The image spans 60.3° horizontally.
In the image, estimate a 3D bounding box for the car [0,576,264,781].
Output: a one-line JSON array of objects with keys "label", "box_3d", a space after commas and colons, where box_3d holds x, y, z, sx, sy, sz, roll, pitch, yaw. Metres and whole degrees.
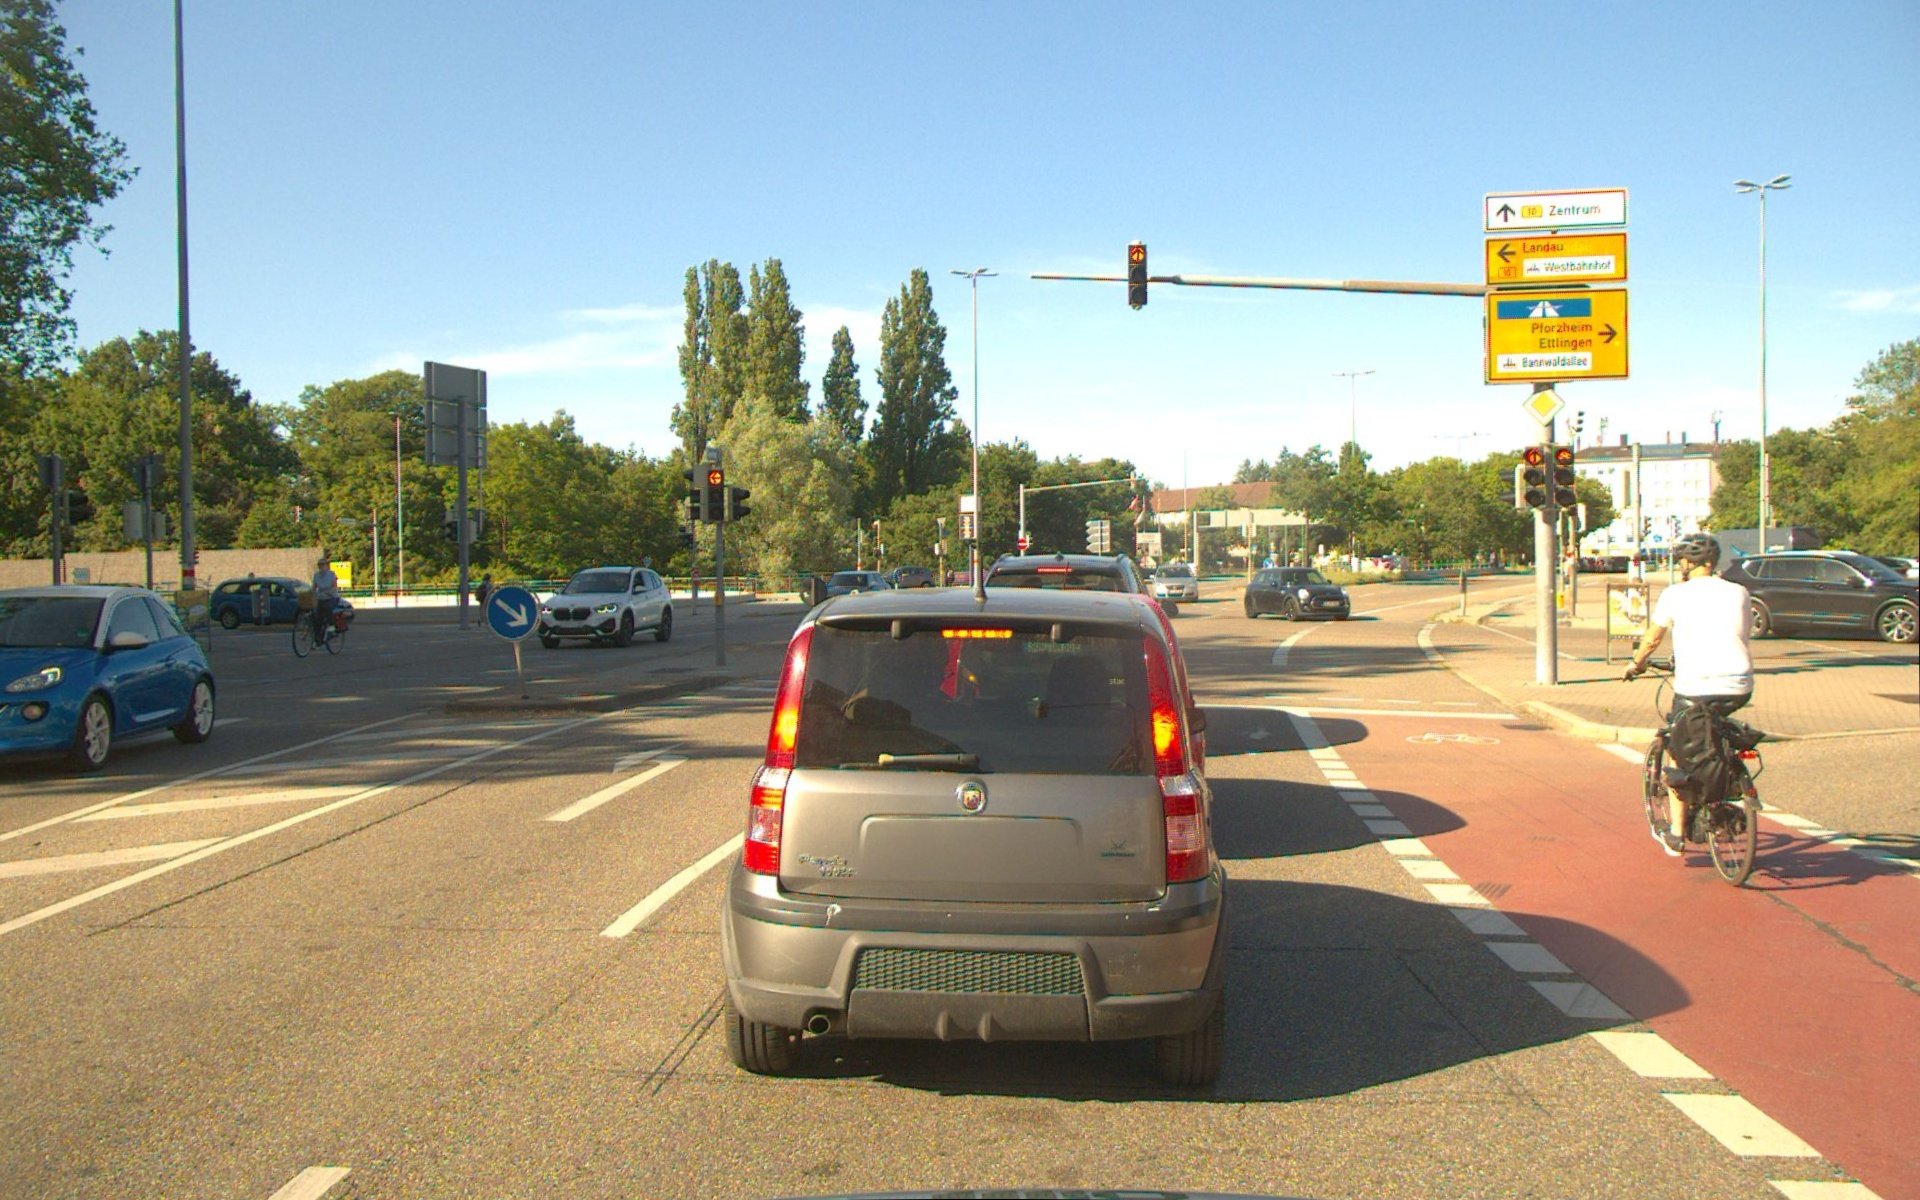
[{"label": "car", "box_3d": [-7.863, 0.572, 14.612, 1.784, 1.529, 4.447, -1, 1, -4]}]

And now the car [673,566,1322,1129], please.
[{"label": "car", "box_3d": [0.202, 0.659, 6.643, 1.782, 1.515, 4.002, 2, 1, 3]}]

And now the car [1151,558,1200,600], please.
[{"label": "car", "box_3d": [8.364, -0.835, 64.499, 1.714, 1.519, 4.353, 0, 2, 5]}]

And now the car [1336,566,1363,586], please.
[{"label": "car", "box_3d": [41.929, -2.555, 177.998, 1.973, 1.887, 4.426, 0, -2, 26]}]

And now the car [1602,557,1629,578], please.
[{"label": "car", "box_3d": [62.823, -3.117, 158.487, 1.956, 1.825, 3.993, -1, -2, 29]}]

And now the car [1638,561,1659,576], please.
[{"label": "car", "box_3d": [80.438, -3.689, 193.133, 1.954, 1.668, 3.996, -1, 1, 27]}]

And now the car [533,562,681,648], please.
[{"label": "car", "box_3d": [-7.427, 0.057, 35.243, 1.795, 1.682, 4.632, -1, 1, 5]}]

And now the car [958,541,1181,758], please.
[{"label": "car", "box_3d": [1.223, 0.375, 16.391, 1.829, 1.821, 4.418, 1, 1, 8]}]

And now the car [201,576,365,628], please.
[{"label": "car", "box_3d": [-20.548, 0.061, 50.215, 4.342, 1.464, 1.828, -1, 1, 14]}]

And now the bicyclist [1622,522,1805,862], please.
[{"label": "bicyclist", "box_3d": [4.114, 0.472, 9.110, 0.783, 1.735, 1.085, 1, -1, 19]}]

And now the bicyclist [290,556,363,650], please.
[{"label": "bicyclist", "box_3d": [-12.072, 0.043, 31.534, 0.672, 1.730, 1.199, -1, 2, 16]}]

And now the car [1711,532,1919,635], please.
[{"label": "car", "box_3d": [17.049, -0.264, 31.877, 1.983, 1.868, 4.292, 2, -2, -42]}]

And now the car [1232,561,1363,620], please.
[{"label": "car", "box_3d": [9.355, -0.235, 46.123, 1.962, 1.479, 3.981, 1, -2, -17]}]

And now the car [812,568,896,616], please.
[{"label": "car", "box_3d": [-3.379, -0.263, 53.336, 1.650, 1.482, 3.917, 0, 1, 13]}]

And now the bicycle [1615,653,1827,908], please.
[{"label": "bicycle", "box_3d": [4.085, 0.892, 9.057, 0.783, 1.130, 2.403, 1, 0, 19]}]

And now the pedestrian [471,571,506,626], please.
[{"label": "pedestrian", "box_3d": [-13.980, -0.032, 49.089, 0.673, 1.565, 1.365, 0, -4, -3]}]

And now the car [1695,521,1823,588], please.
[{"label": "car", "box_3d": [35.084, -1.938, 72.780, 2.223, 2.653, 4.852, 1, -2, -23]}]

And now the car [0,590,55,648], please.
[{"label": "car", "box_3d": [-26.273, 0.513, 43.644, 4.345, 1.464, 1.826, -1, 1, 22]}]

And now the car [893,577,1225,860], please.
[{"label": "car", "box_3d": [0.618, 0.626, 11.005, 1.782, 1.505, 4.001, 1, 0, 2]}]

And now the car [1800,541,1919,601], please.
[{"label": "car", "box_3d": [33.394, -1.025, 61.115, 3.923, 2.049, 1.991, -1, -2, 38]}]

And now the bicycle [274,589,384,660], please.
[{"label": "bicycle", "box_3d": [-12.037, 0.451, 31.634, 0.672, 1.223, 2.329, -1, 2, 16]}]

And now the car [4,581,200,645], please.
[{"label": "car", "box_3d": [-20.888, 0.309, 40.278, 4.345, 1.464, 1.826, -1, 1, 22]}]
